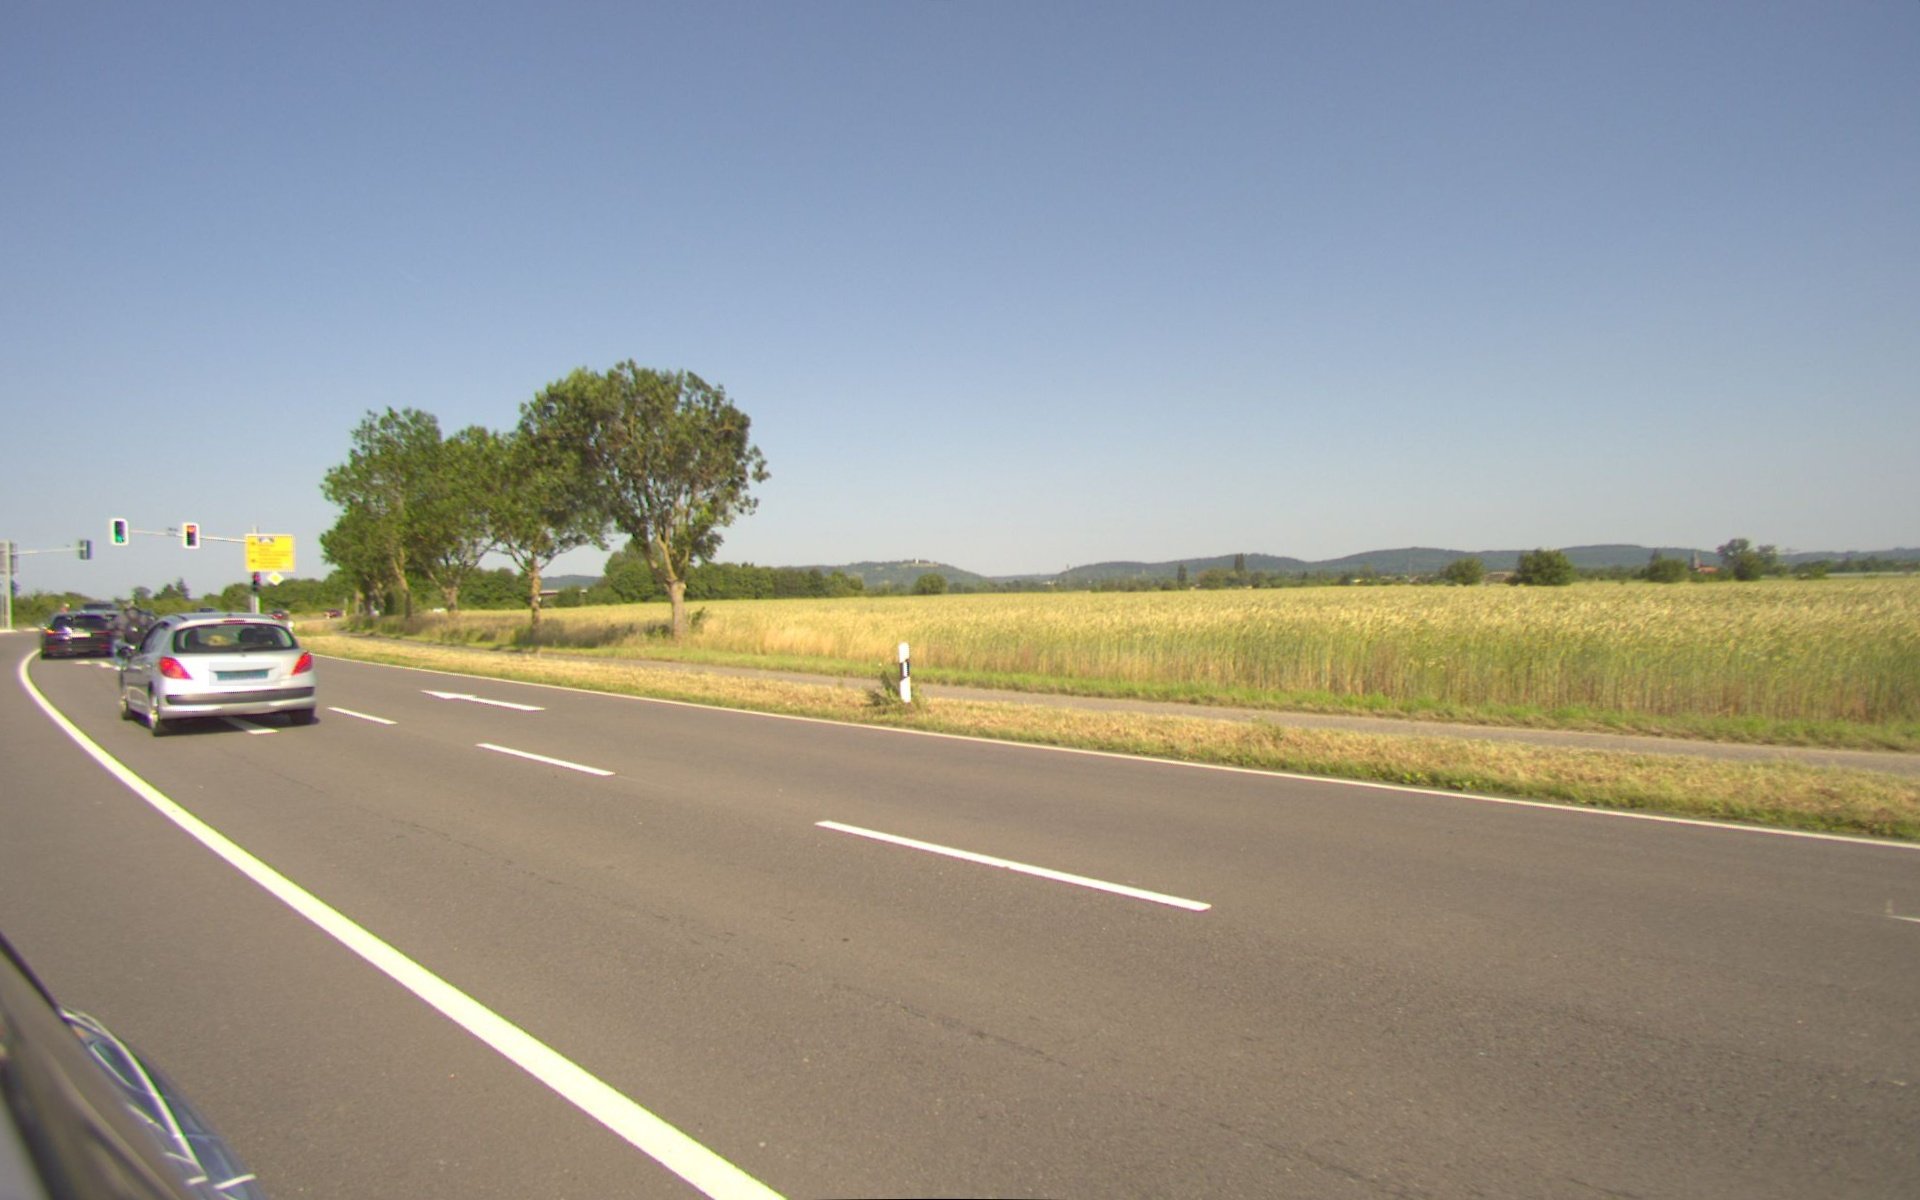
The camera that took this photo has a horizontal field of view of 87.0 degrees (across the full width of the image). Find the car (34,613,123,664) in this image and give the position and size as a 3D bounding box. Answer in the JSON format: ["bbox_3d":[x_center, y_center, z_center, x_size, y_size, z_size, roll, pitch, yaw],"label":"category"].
[{"bbox_3d":[-28.214,1.177,32.519,1.866,1.447,4.806,-1,0,-38],"label":"car"}]

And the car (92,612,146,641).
[{"bbox_3d":[-46.913,1.447,56.521,1.864,1.477,4.287,1,-1,-34],"label":"car"}]

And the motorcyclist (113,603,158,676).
[{"bbox_3d":[-17.502,0.816,21.479,0.670,1.506,0.848,-1,0,-44],"label":"motorcyclist"}]

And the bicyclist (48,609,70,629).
[{"bbox_3d":[-61.764,1.322,69.372,1.056,1.362,0.861,0,0,-35],"label":"bicyclist"}]

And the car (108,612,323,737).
[{"bbox_3d":[-9.998,0.870,13.481,4.001,1.414,1.667,-1,-1,44],"label":"car"}]

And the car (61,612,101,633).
[{"bbox_3d":[-66.814,1.718,76.964,1.832,1.554,4.010,0,-1,-34],"label":"car"}]

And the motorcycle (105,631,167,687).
[{"bbox_3d":[-17.371,1.210,21.311,0.860,1.082,1.970,-1,0,-43],"label":"motorcycle"}]

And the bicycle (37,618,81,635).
[{"bbox_3d":[-61.747,1.806,69.394,2.115,1.158,1.076,0,0,-35],"label":"bicycle"}]
